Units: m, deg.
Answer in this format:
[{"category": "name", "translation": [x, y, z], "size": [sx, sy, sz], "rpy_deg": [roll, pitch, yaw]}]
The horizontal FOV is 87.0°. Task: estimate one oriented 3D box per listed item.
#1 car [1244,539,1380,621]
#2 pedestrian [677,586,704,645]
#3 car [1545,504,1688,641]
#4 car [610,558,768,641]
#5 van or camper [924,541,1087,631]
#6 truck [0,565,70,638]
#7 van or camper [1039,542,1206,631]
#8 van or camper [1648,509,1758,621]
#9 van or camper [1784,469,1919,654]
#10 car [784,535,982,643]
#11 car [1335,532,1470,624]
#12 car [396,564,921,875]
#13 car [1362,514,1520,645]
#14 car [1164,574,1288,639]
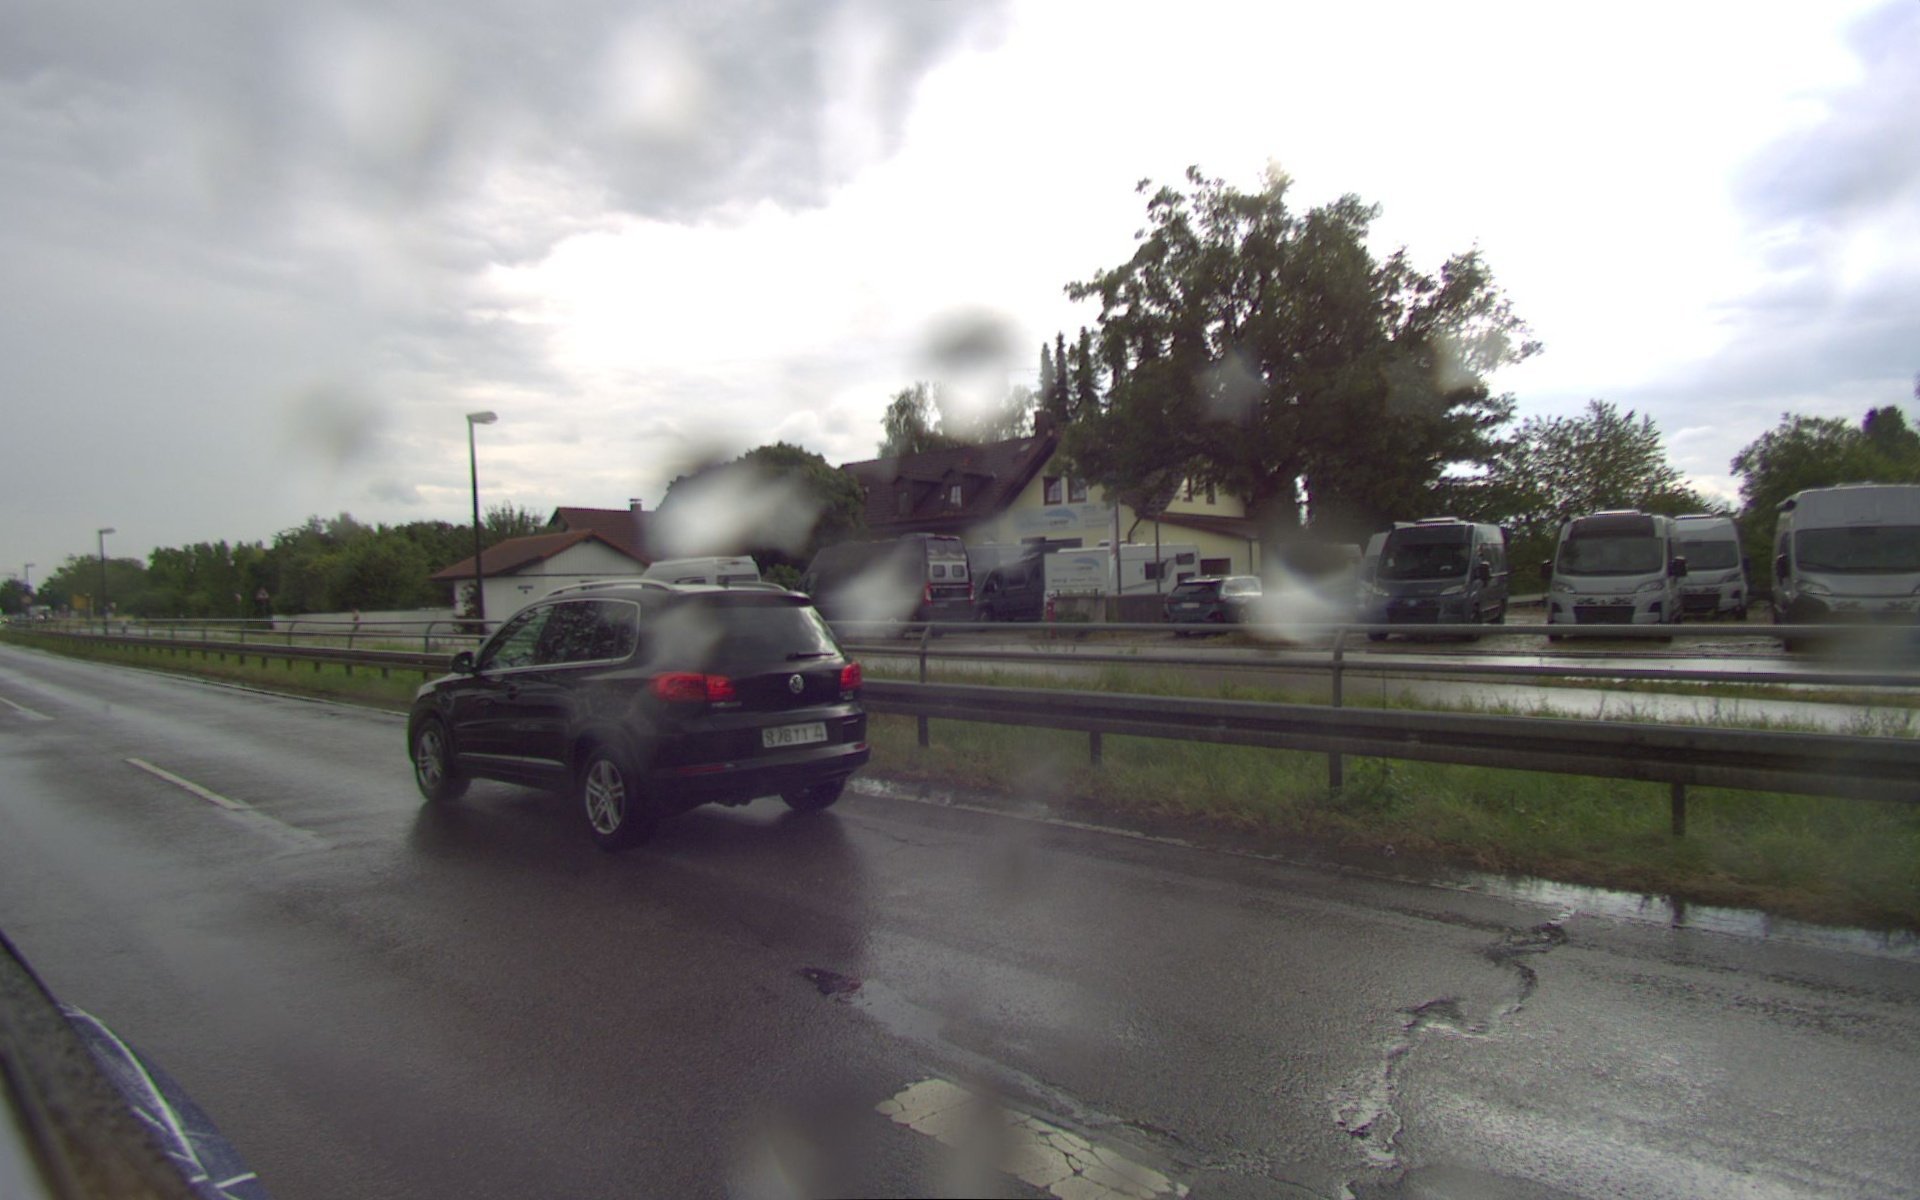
[{"category": "car", "translation": [11.612, -0.678, 33.083], "size": [2.090, 2.435, 6.030], "rpy_deg": [-1, 1, 41]}, {"category": "pedestrian", "translation": [-8.074, 0.455, 30.298], "size": [0.509, 1.723, 0.651], "rpy_deg": [-2, 1, -41]}, {"category": "car", "translation": [13.618, -0.565, 20.835], "size": [1.997, 2.477, 5.044], "rpy_deg": [-2, 1, 38]}, {"category": "car", "translation": [-9.397, 0.000, 34.755], "size": [6.016, 2.600, 2.214], "rpy_deg": [-1, 1, 41]}, {"category": "van or camper", "translation": [1.695, -0.529, 34.806], "size": [2.432, 2.822, 5.994], "rpy_deg": [-2, 1, 39]}, {"category": "truck", "translation": [-68.001, 0.138, 73.994], "size": [7.778, 5.071, 3.216], "rpy_deg": [-1, 1, 41]}, {"category": "van or camper", "translation": [5.414, -0.483, 32.889], "size": [2.559, 2.611, 6.162], "rpy_deg": [-2, 1, 39]}, {"category": "van or camper", "translation": [19.611, -0.904, 26.587], "size": [1.998, 2.609, 5.747], "rpy_deg": [-2, 1, 39]}, {"category": "van or camper", "translation": [15.470, -0.650, 17.301], "size": [2.079, 2.697, 5.817], "rpy_deg": [-2, 1, 39]}, {"category": "car", "translation": [-2.284, -0.274, 28.934], "size": [5.570, 2.783, 2.358], "rpy_deg": [-1, 1, 41]}, {"category": "car", "translation": [13.720, -0.686, 31.152], "size": [2.090, 2.557, 6.030], "rpy_deg": [-1, 1, 41]}, {"category": "car", "translation": [-2.340, 0.663, 7.296], "size": [3.997, 1.631, 1.746], "rpy_deg": [-1, -1, 41]}, {"category": "car", "translation": [10.615, -0.464, 22.114], "size": [1.997, 2.520, 5.133], "rpy_deg": [-2, 1, 38]}, {"category": "car", "translation": [6.920, 0.130, 26.114], "size": [1.539, 1.507, 3.844], "rpy_deg": [-1, 1, 41]}]
